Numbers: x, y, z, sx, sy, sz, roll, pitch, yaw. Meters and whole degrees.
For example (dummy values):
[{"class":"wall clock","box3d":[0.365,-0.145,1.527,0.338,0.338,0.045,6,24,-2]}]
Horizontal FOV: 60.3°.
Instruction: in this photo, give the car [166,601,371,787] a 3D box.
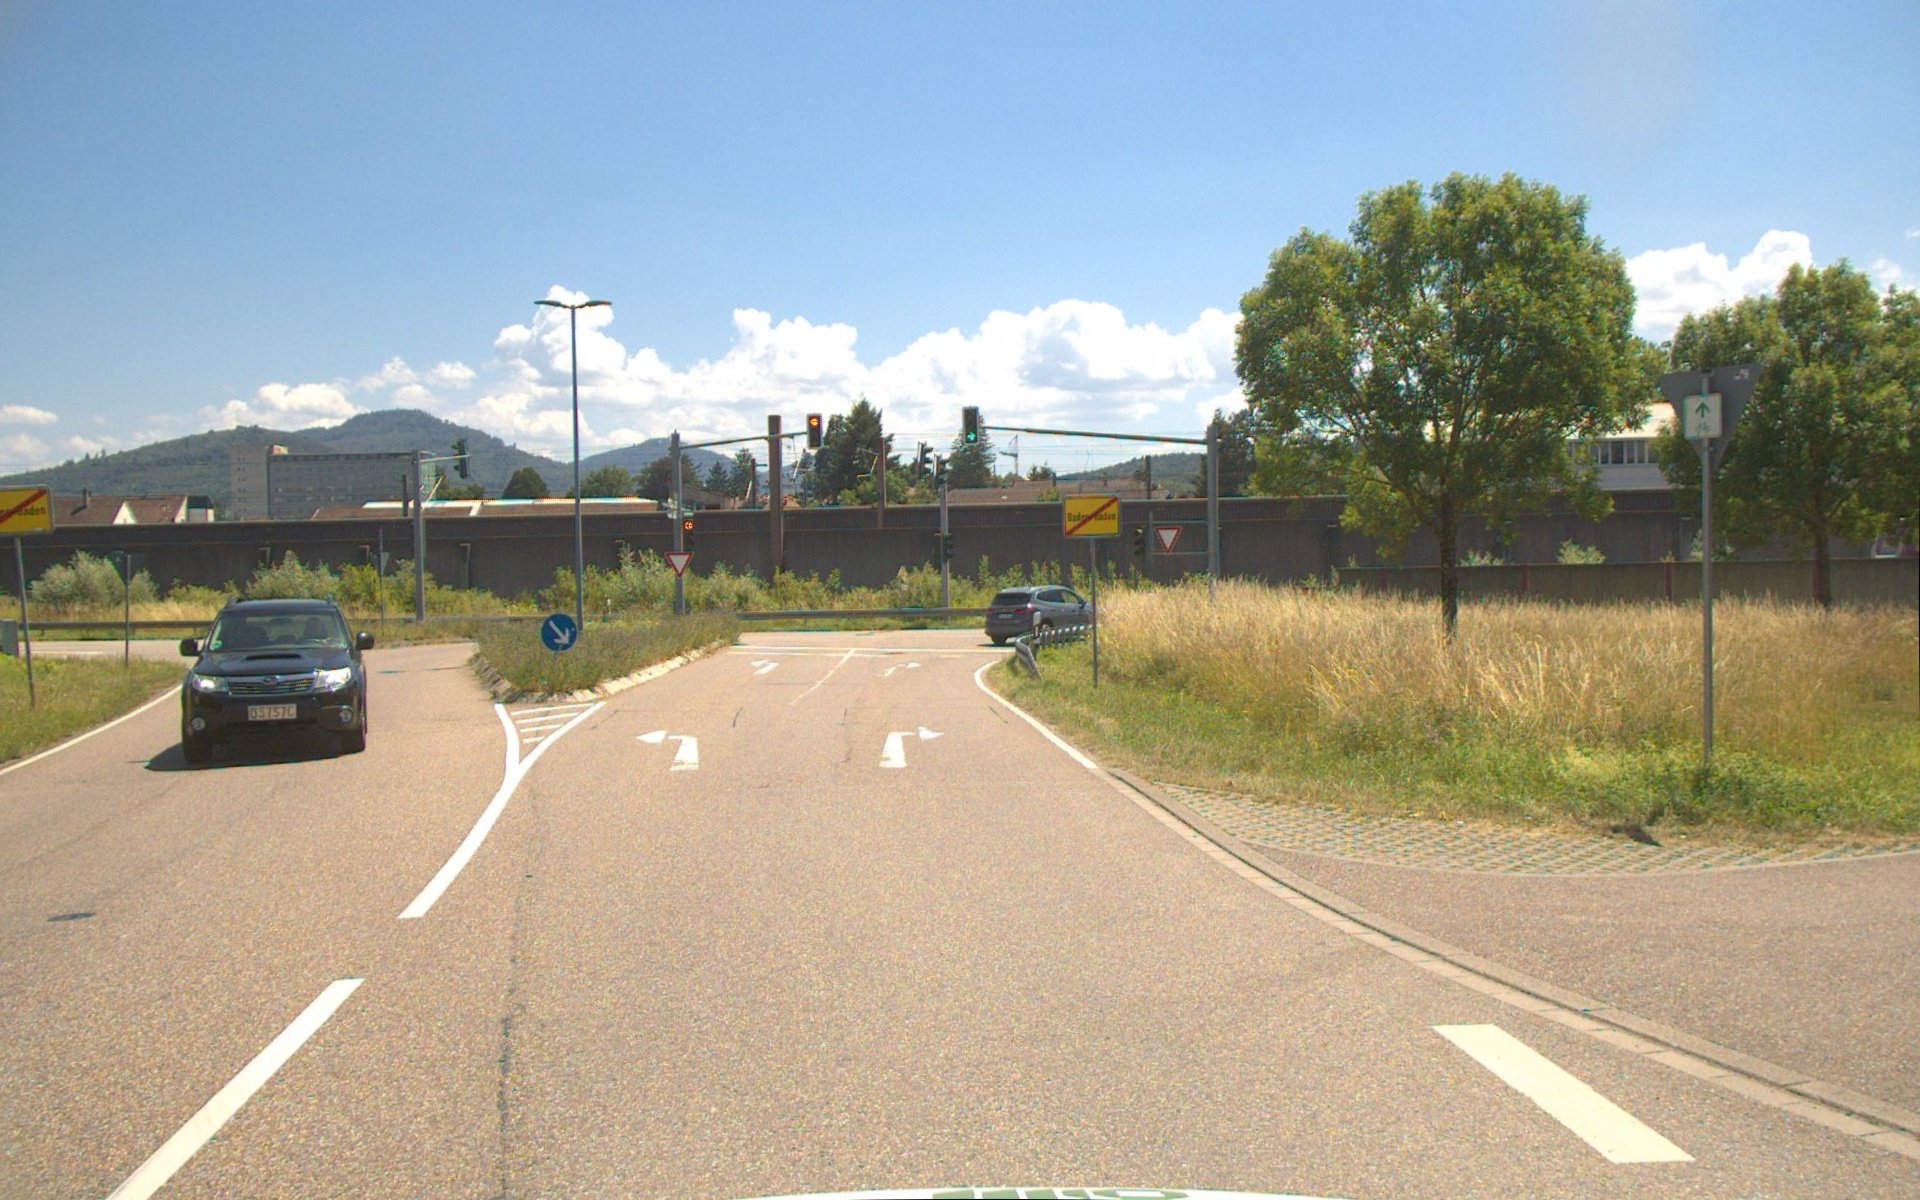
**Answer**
[{"class":"car","box3d":[-7.549,0.912,18.306,1.875,1.732,3.975,0,1,-21]}]

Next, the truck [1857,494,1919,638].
[{"class":"truck","box3d":[33.738,-1.068,49.809,11.519,4.253,3.008,-1,0,6]}]

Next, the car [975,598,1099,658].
[{"class":"car","box3d":[2.221,0.750,46.736,1.956,1.529,3.994,1,1,29]}]
